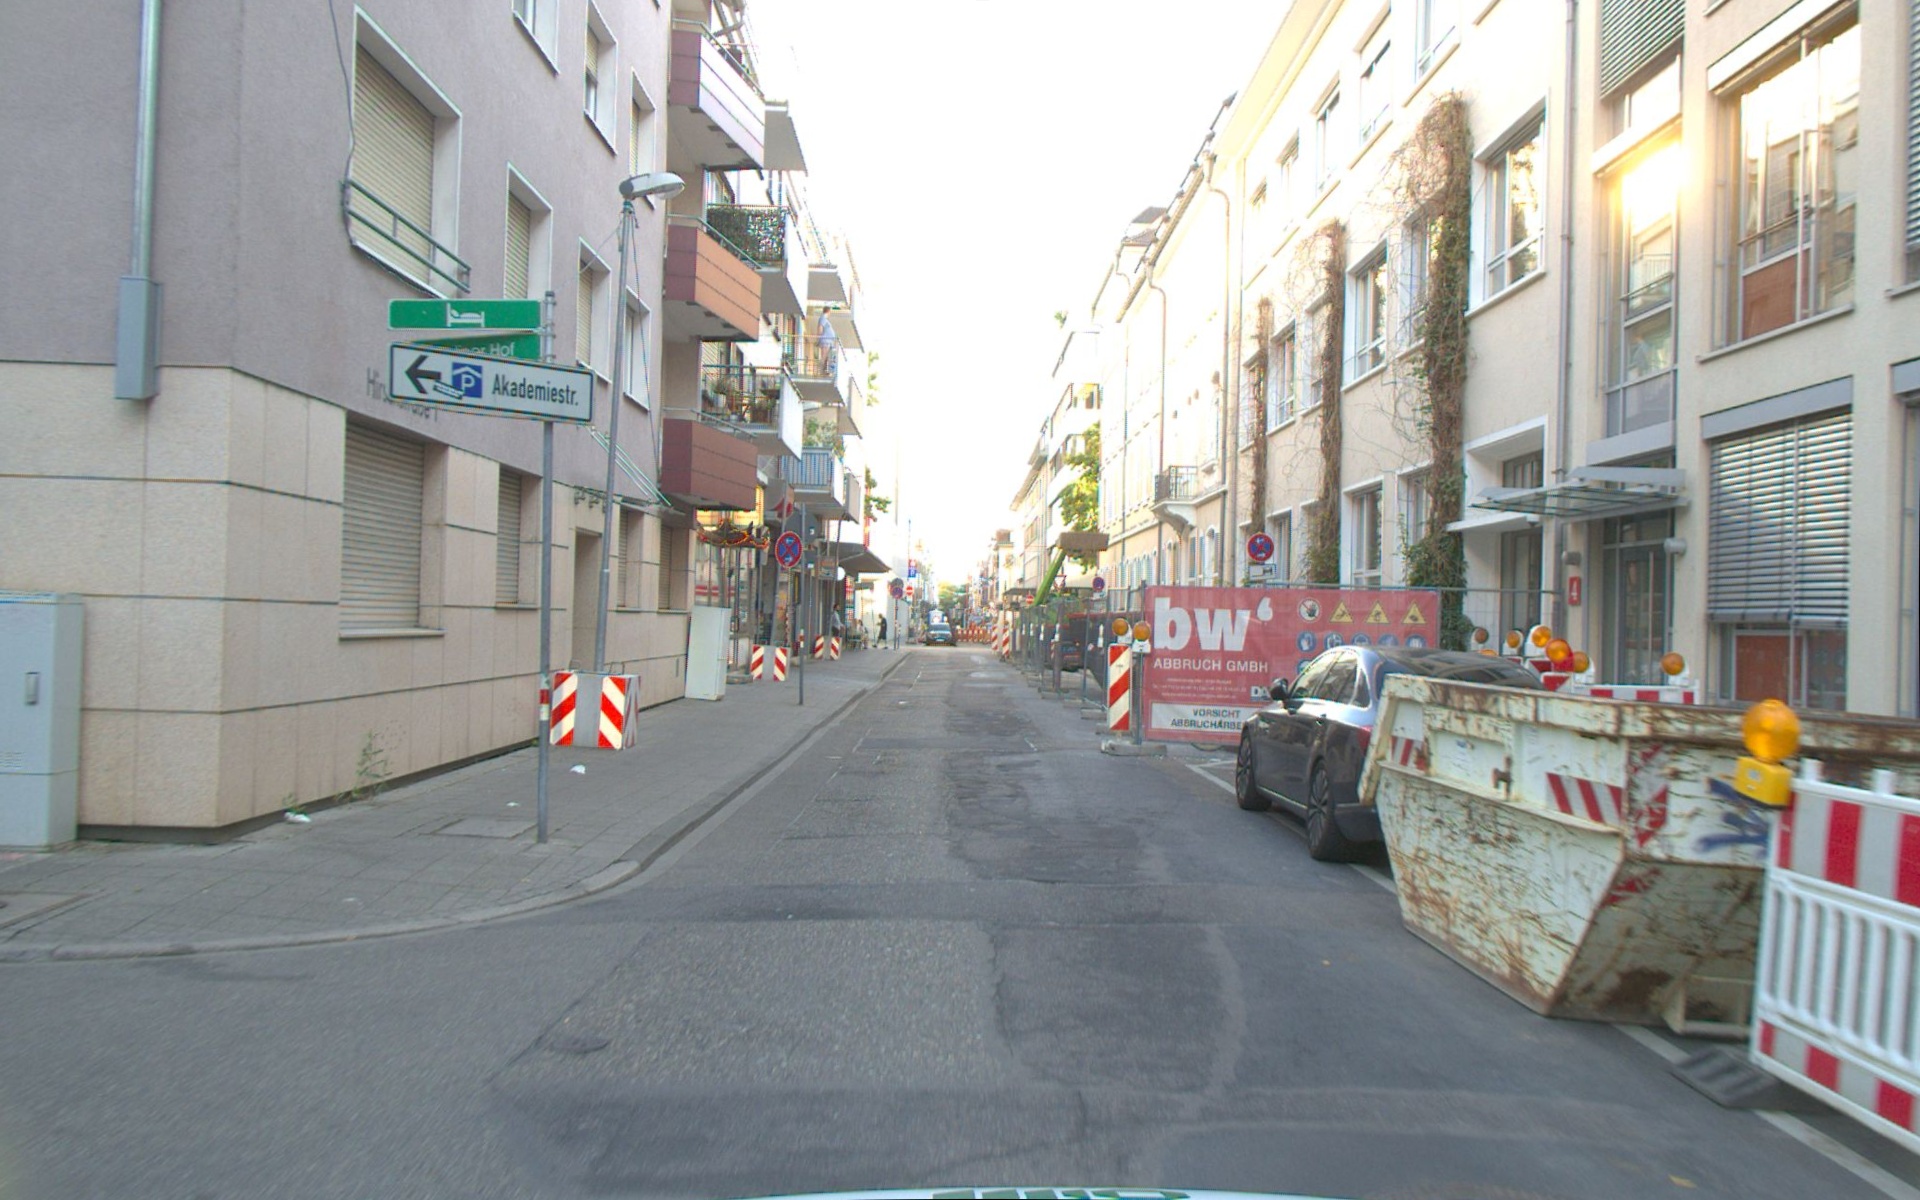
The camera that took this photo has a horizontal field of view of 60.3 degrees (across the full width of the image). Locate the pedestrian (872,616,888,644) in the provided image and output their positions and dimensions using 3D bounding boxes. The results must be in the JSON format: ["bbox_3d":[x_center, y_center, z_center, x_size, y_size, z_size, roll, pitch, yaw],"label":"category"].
[{"bbox_3d":[-3.746,1.413,77.809,0.697,1.298,0.704,2,-1,0],"label":"pedestrian"}]

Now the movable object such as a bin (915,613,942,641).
[{"bbox_3d":[-2.306,2.005,122.479,1.953,2.049,4.000,0,-1,0],"label":"movable object such as a bin"}]

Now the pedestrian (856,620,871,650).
[{"bbox_3d":[-4.222,1.537,72.385,0.561,1.298,0.713,3,-1,0],"label":"pedestrian"}]

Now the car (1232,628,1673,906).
[{"bbox_3d":[3.257,1.014,11.909,1.751,1.497,4.445,3,-1,0],"label":"car"}]

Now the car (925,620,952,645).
[{"bbox_3d":[-1.402,2.115,107.505,1.597,1.578,3.140,1,-1,-4],"label":"car"}]

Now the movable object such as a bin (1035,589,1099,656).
[{"bbox_3d":[4.720,0.999,73.762,2.551,2.889,4.449,0,-1,0],"label":"movable object such as a bin"}]

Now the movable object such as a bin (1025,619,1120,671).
[{"bbox_3d":[3.911,1.550,59.281,2.680,1.667,7.550,2,-1,-1],"label":"movable object such as a bin"}]

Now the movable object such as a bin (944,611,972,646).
[{"bbox_3d":[-0.178,2.287,132.756,2.112,2.710,4.571,1,-1,-1],"label":"movable object such as a bin"}]

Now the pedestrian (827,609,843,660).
[{"bbox_3d":[-4.582,1.255,60.558,0.520,1.866,0.562,1,-1,-7],"label":"pedestrian"}]

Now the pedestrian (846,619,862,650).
[{"bbox_3d":[-4.573,1.503,71.283,0.561,1.298,0.713,3,-1,0],"label":"pedestrian"}]

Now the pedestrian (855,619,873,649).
[{"bbox_3d":[-4.229,1.502,73.242,0.688,1.298,0.713,3,-1,0],"label":"pedestrian"}]
